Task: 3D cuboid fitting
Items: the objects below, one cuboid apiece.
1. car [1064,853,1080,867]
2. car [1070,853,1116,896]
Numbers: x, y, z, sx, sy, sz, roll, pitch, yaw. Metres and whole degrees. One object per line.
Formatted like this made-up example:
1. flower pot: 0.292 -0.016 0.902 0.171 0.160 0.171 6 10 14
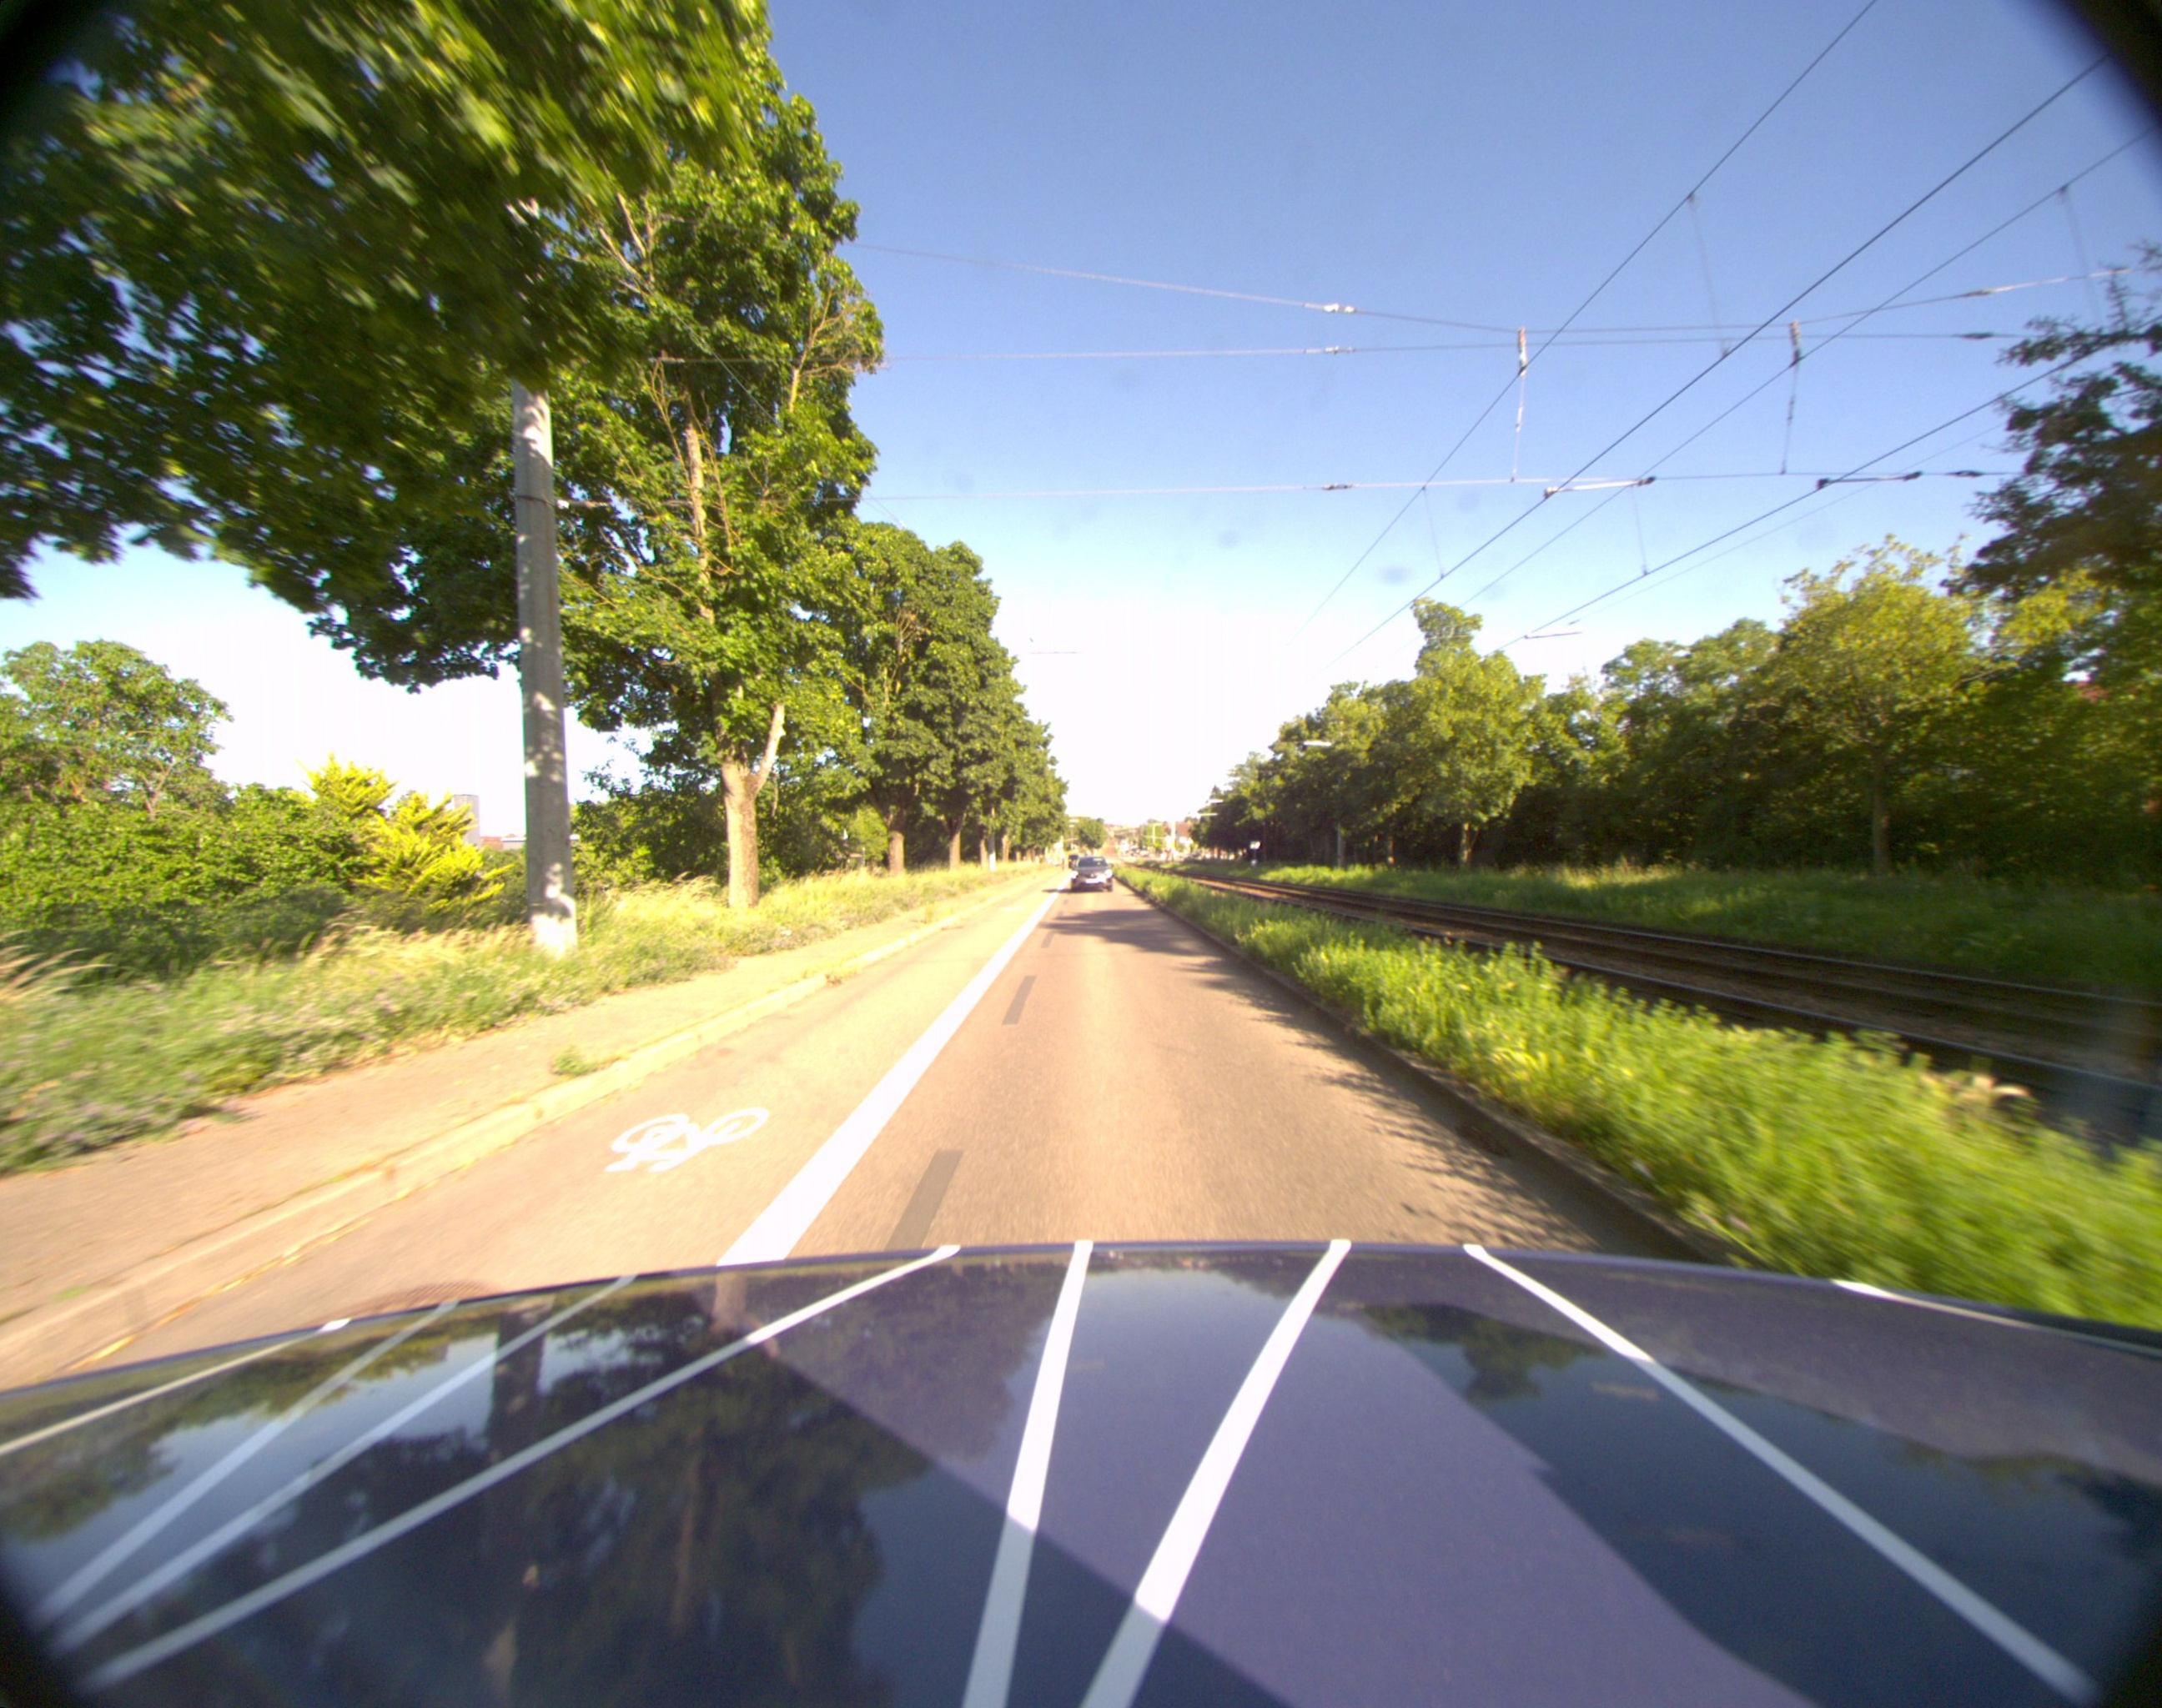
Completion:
1. car: -1.118 0.700 94.367 1.814 1.625 4.128 -3 0 1
2. car: 0.527 0.825 32.871 1.814 1.625 4.709 -1 1 1
